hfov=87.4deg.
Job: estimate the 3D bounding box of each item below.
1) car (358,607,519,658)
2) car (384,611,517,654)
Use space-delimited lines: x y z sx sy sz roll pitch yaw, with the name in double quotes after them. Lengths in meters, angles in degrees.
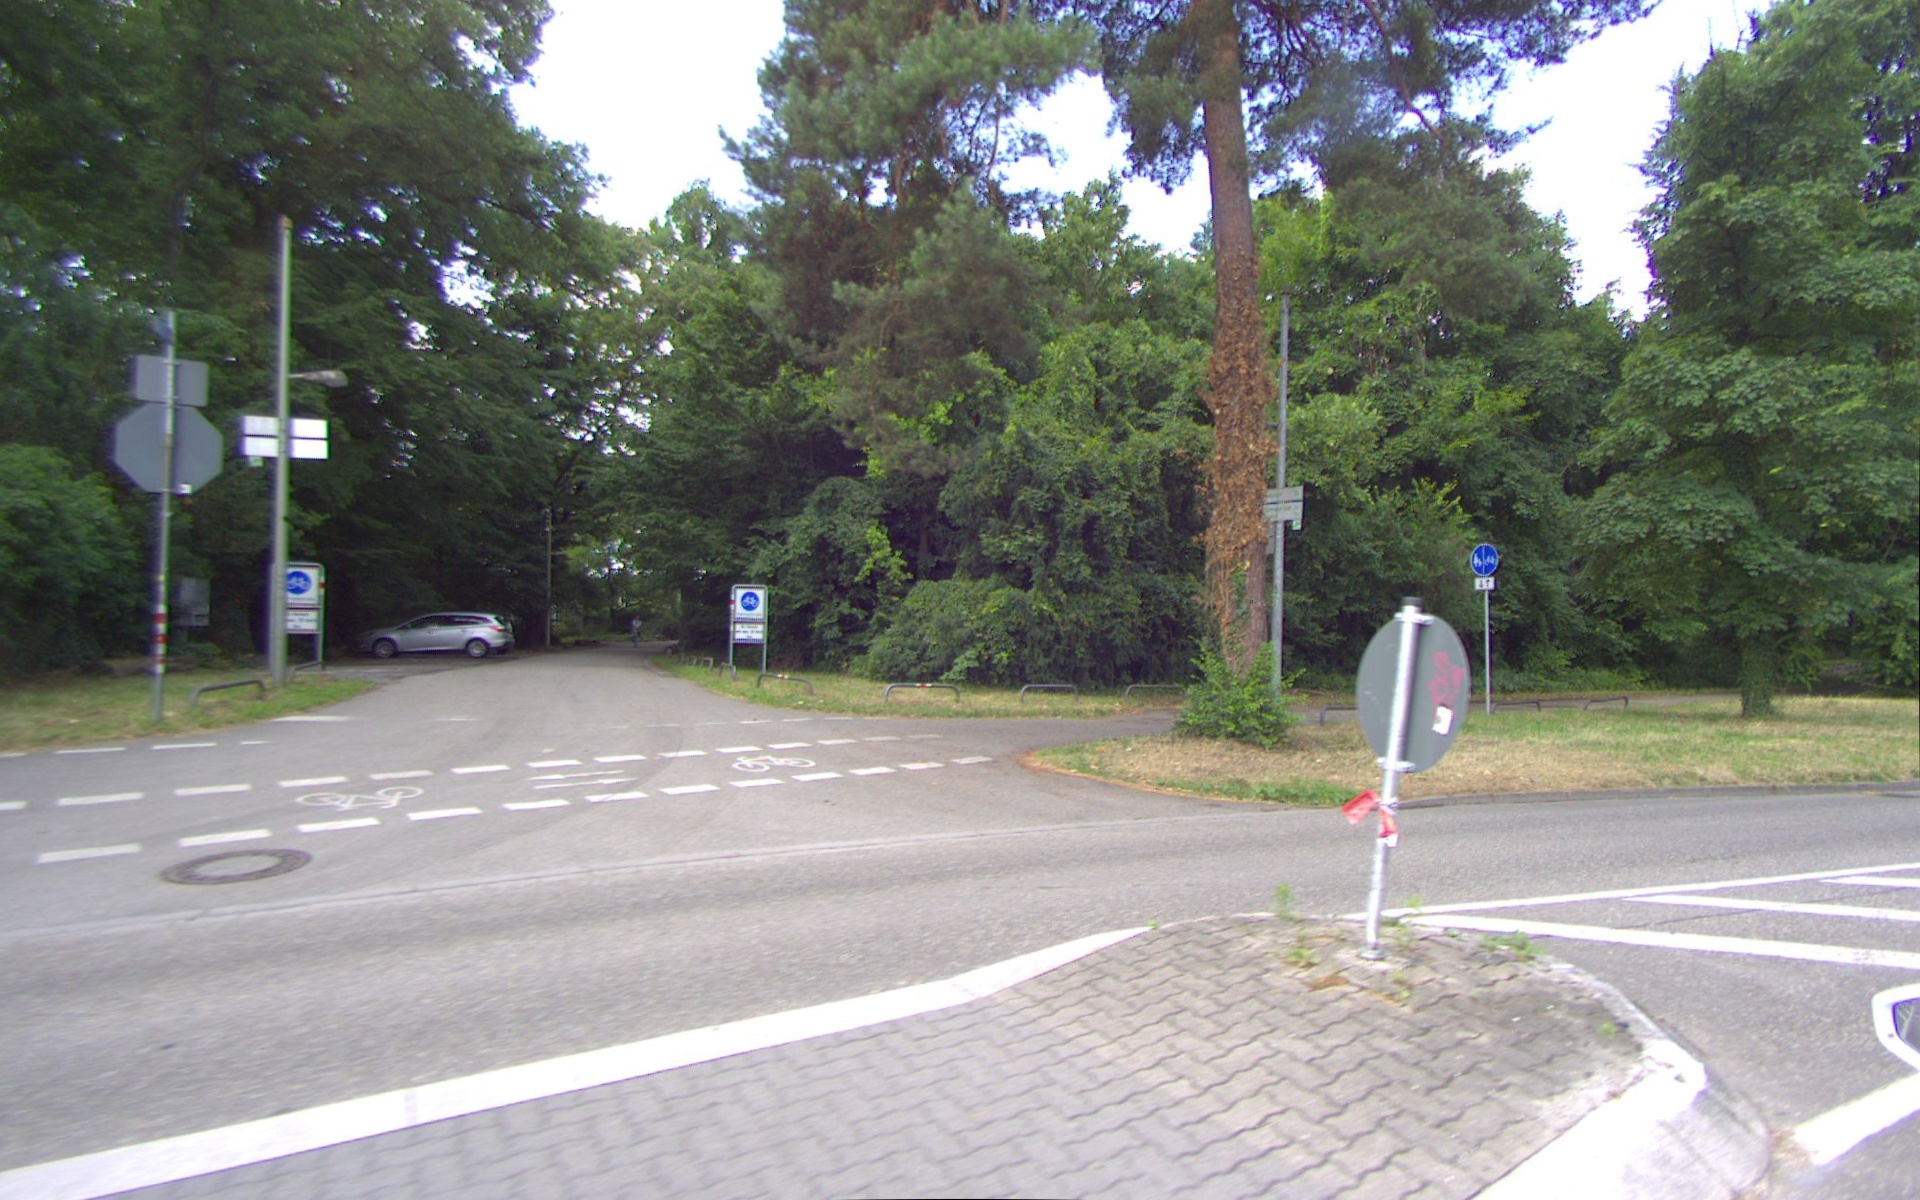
-16.811 1.081 32.659 4.456 1.561 1.920 2 -2 -24 "car"
-19.613 1.277 38.891 4.457 1.561 1.920 2 -2 -25 "car"
